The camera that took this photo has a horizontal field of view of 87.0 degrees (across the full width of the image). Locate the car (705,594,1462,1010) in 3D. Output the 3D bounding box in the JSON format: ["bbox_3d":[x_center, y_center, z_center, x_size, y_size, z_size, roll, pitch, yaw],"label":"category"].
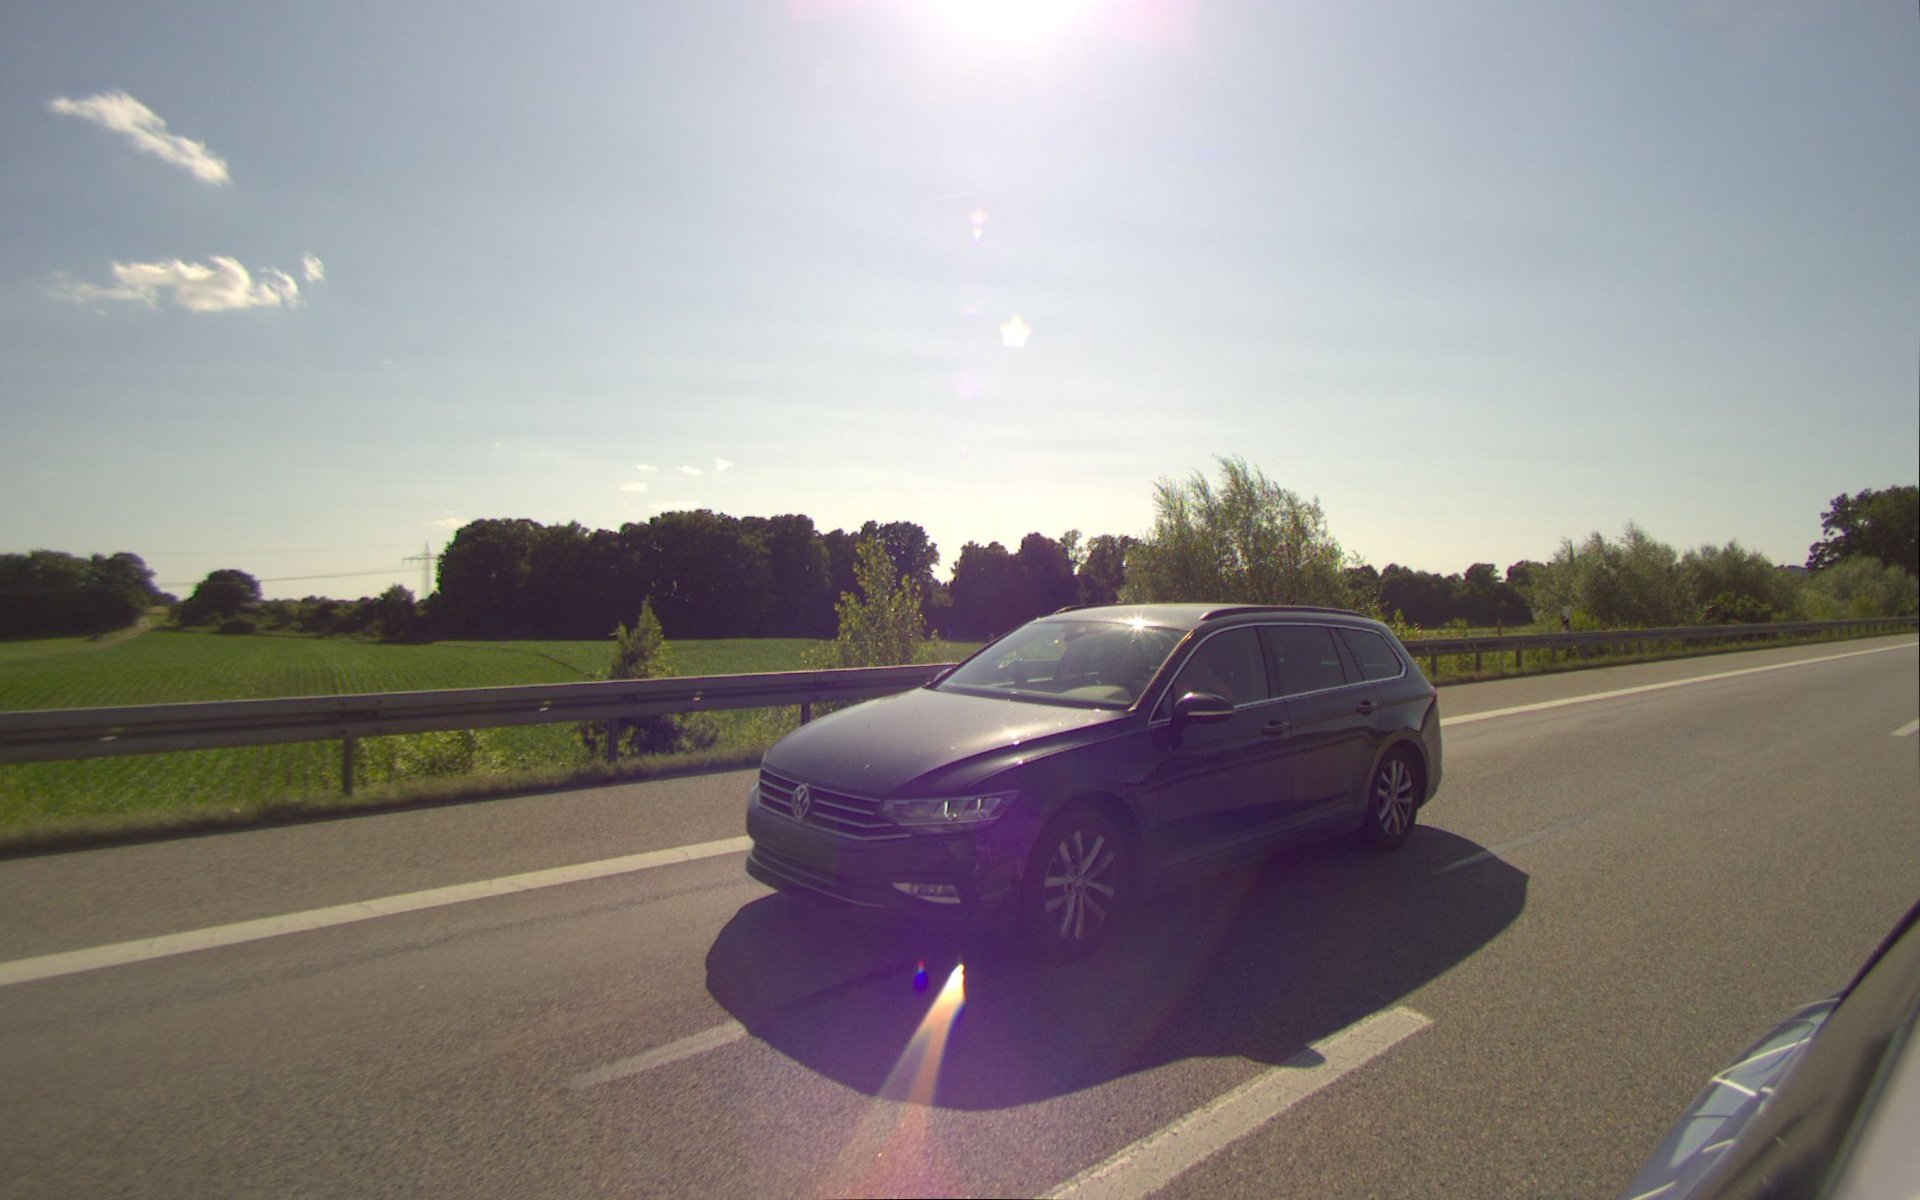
[{"bbox_3d":[0.975,0.688,5.592,4.337,1.417,1.721,-1,0,-41],"label":"car"}]
